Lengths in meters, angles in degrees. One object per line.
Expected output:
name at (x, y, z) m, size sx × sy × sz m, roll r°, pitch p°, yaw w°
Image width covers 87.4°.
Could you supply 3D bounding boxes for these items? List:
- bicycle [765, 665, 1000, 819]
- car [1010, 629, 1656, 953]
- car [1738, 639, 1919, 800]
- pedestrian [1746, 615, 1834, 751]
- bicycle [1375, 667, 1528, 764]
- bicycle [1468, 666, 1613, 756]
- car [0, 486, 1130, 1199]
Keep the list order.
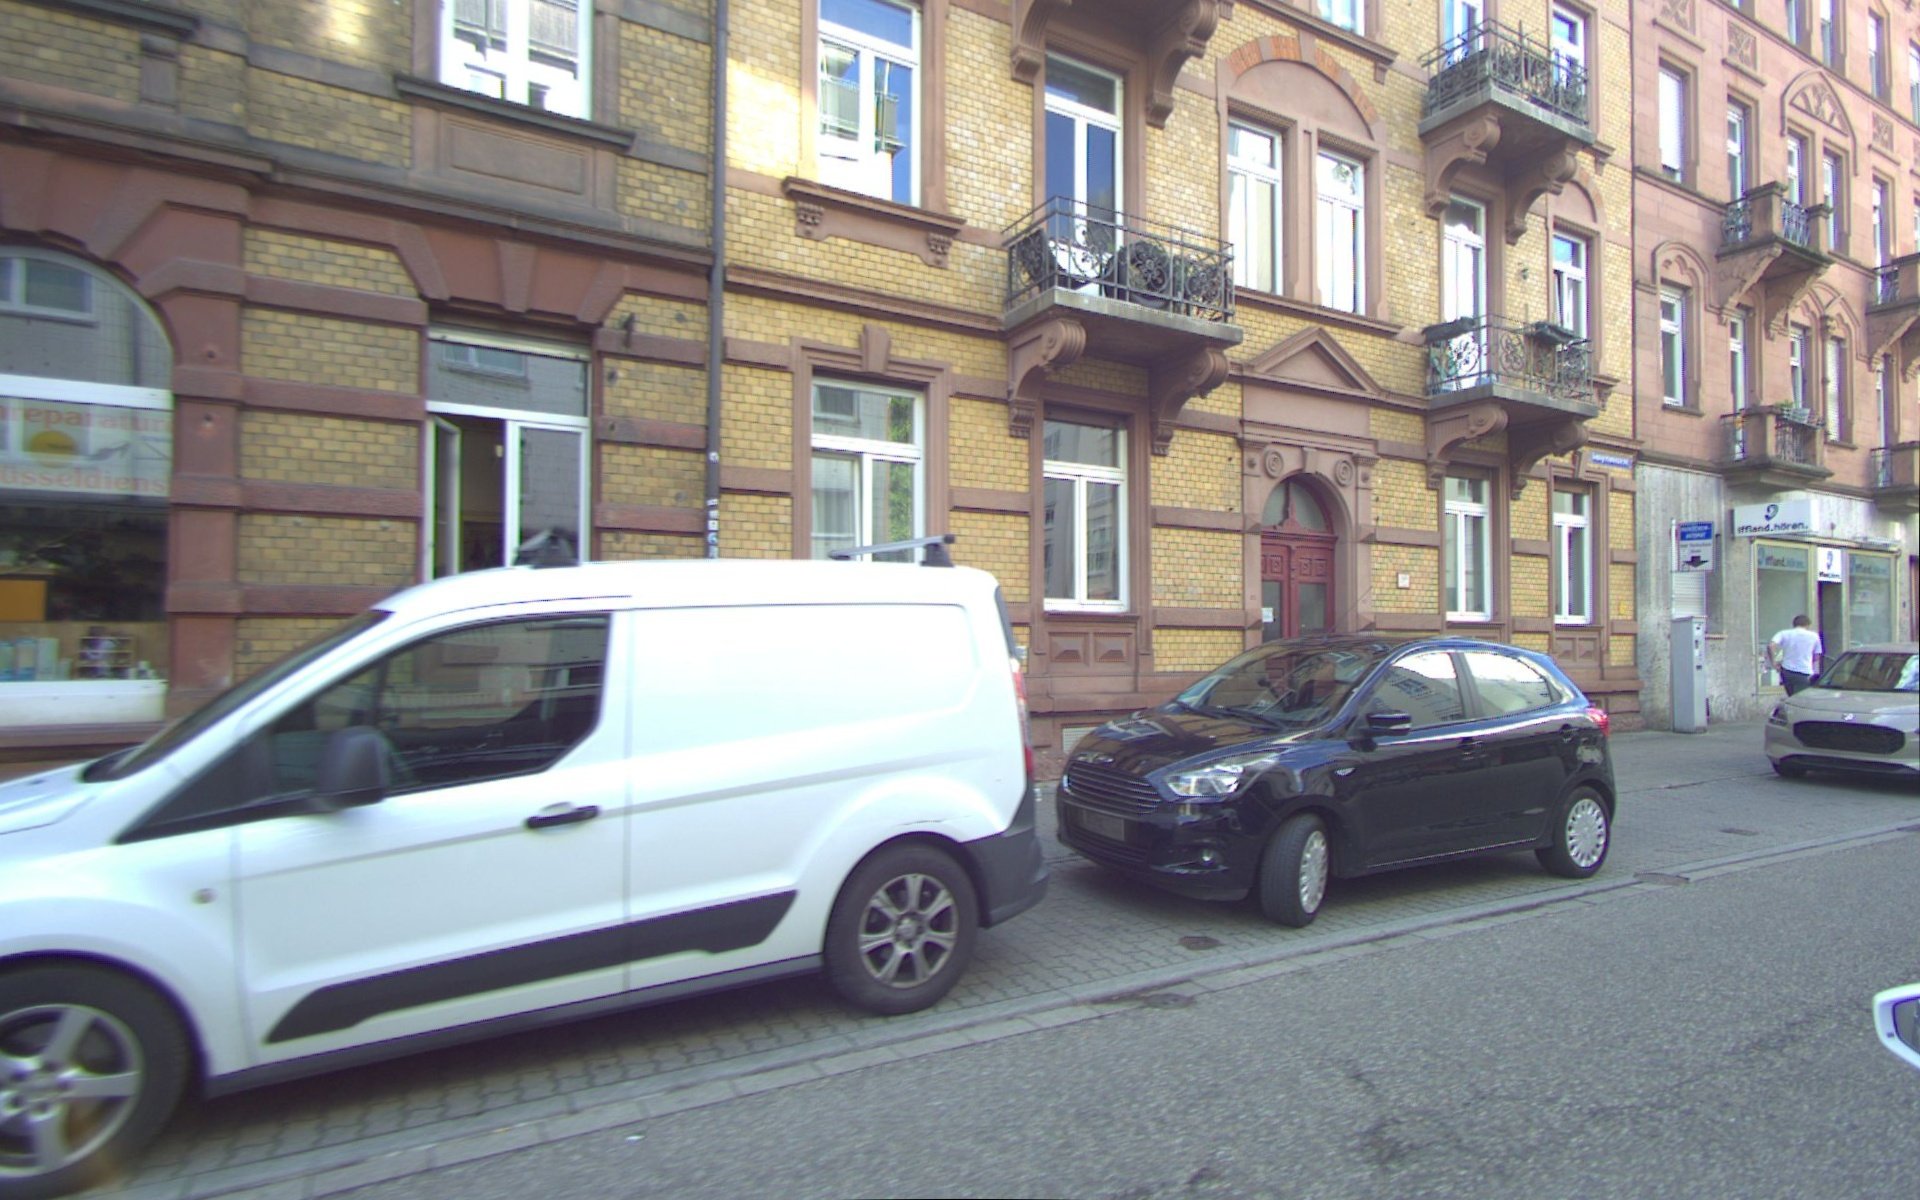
bicycle at (-0.648, 1.182, 8.761) m, size 1.977 × 1.166 × 0.565 m, roll 1°, pitch 0°, yaw -30°
car at (2.453, 0.986, 6.453) m, size 3.934 × 1.503 × 1.735 m, roll 2°, pitch -2°, yaw -28°
car at (10.602, 1.207, 11.106) m, size 3.934 × 1.503 × 1.735 m, roll 1°, pitch -1°, yaw -28°
pedestrian at (11.615, 1.130, 14.065) m, size 0.764 × 1.814 × 0.726 m, roll 1°, pitch 2°, yaw -36°
bicycle at (6.116, 1.396, 12.484) m, size 1.750 × 1.051 × 0.851 m, roll 1°, pitch 0°, yaw -29°
bicycle at (7.698, 1.434, 13.307) m, size 1.750 × 1.051 × 0.894 m, roll 1°, pitch -1°, yaw -29°
car at (-1.615, 0.690, 4.169) m, size 4.383 × 1.896 × 1.911 m, roll 1°, pitch -1°, yaw -30°
